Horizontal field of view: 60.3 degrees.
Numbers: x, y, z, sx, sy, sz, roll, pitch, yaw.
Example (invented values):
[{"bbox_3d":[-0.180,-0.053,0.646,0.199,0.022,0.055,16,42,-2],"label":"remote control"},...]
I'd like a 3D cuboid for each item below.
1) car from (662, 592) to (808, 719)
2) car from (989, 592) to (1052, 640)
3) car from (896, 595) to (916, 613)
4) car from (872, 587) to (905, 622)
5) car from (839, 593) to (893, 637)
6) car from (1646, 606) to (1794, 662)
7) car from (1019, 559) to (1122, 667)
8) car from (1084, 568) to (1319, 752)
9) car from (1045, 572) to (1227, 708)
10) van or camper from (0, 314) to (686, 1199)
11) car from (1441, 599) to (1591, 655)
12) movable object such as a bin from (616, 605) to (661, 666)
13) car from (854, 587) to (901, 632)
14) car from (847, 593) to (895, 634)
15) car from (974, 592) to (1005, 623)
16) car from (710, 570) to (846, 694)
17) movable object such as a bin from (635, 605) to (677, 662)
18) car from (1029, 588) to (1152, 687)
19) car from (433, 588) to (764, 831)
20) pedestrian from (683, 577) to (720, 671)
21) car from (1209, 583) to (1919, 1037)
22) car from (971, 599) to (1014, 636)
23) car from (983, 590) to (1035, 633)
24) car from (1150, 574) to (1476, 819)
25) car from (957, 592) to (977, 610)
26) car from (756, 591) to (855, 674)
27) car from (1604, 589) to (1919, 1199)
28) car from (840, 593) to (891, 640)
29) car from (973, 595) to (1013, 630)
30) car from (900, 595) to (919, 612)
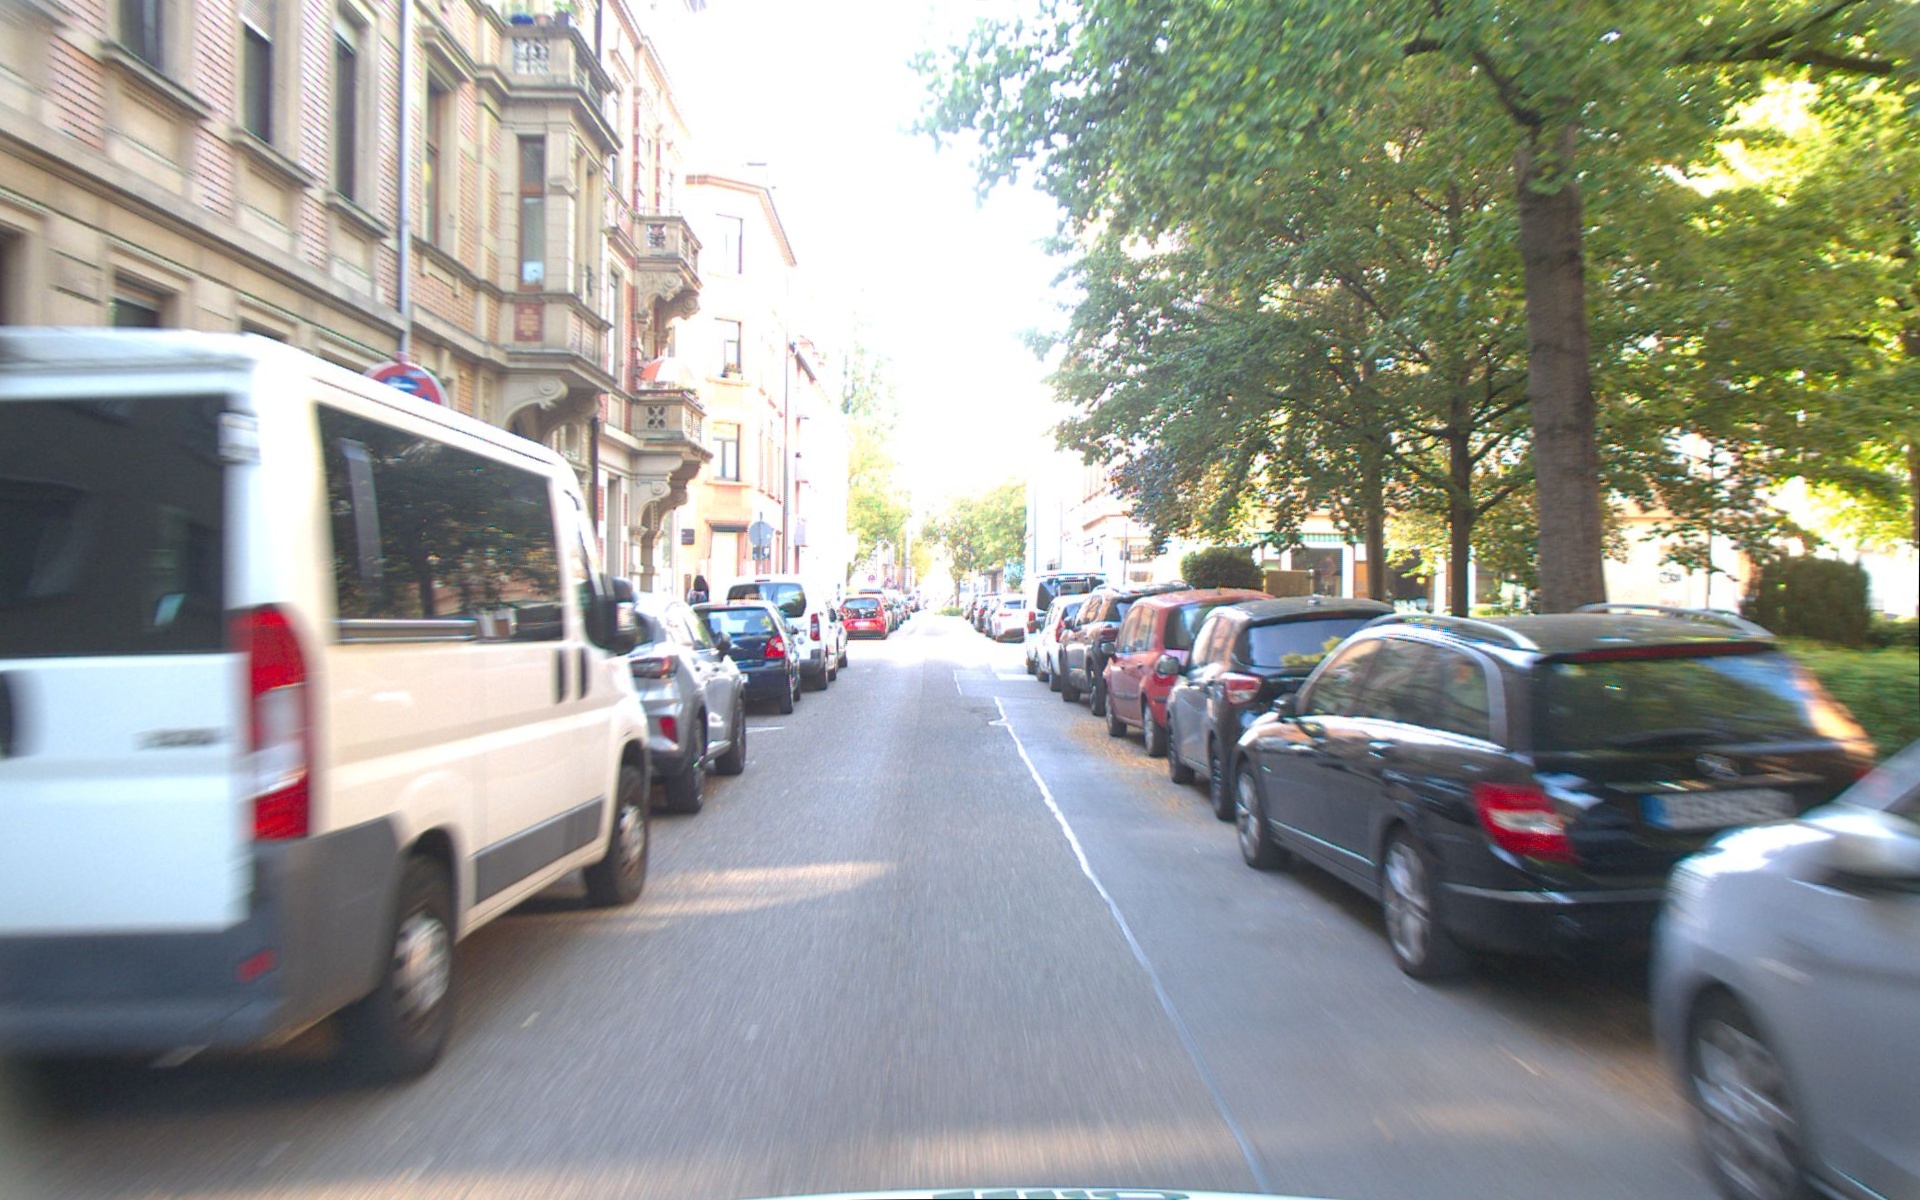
[{"bbox_3d":[-3.009,0.685,22.759,1.659,1.540,3.970,-2,0,-4],"label":"car"},{"bbox_3d":[2.021,0.516,56.282,1.709,1.533,4.355,-2,0,-3],"label":"car"},{"bbox_3d":[-4.753,0.323,145.382,1.642,1.513,4.093,-2,0,-1],"label":"car"},{"bbox_3d":[-3.918,0.221,91.060,1.729,1.816,4.038,-1,0,-1],"label":"car"},{"bbox_3d":[-3.477,0.537,61.585,1.660,1.547,4.096,-1,0,1],"label":"car"},{"bbox_3d":[21.451,0.974,46.773,3.456,1.499,1.634,1,-2,6],"label":"car"},{"bbox_3d":[2.205,0.234,34.157,1.875,2.033,4.792,-1,0,1],"label":"car"},{"bbox_3d":[2.482,0.598,17.912,1.587,1.653,3.859,-4,0,-5],"label":"car"},{"bbox_3d":[2.392,0.539,23.517,1.706,1.631,4.260,-4,0,-5],"label":"car"},{"bbox_3d":[-2.648,0.404,6.632,2.132,2.185,5.154,-1,0,1],"label":"van or camper"},{"bbox_3d":[15.831,0.776,47.225,3.773,1.499,1.634,1,-2,6],"label":"car"},{"bbox_3d":[-5.814,0.628,29.952,0.624,1.059,0.856,2,0,-1],"label":"movable object such as a bin"},{"bbox_3d":[-3.563,0.400,71.903,1.707,1.842,4.672,-1,0,1],"label":"car"},{"bbox_3d":[-3.535,0.511,66.406,1.622,1.547,3.945,-1,0,1],"label":"car"},{"bbox_3d":[1.647,0.434,93.491,1.641,1.711,4.094,-2,-1,0],"label":"car"},{"bbox_3d":[-2.949,0.475,27.655,1.794,1.843,4.571,-1,0,-1],"label":"car"},{"bbox_3d":[-5.917,0.639,32.194,0.624,1.059,0.856,2,0,-1],"label":"movable object such as a bin"},{"bbox_3d":[2.200,0.602,28.707,1.684,1.598,3.826,0,0,-2],"label":"car"},{"bbox_3d":[-2.609,0.702,12.916,1.730,1.540,4.192,-2,0,-2],"label":"car"},{"bbox_3d":[-4.688,0.442,30.035,0.537,1.673,0.717,1,-2,-1],"label":"pedestrian"},{"bbox_3d":[2.558,0.755,8.183,1.642,1.466,4.693,-4,0,-3],"label":"car"},{"bbox_3d":[1.387,0.735,71.575,1.642,1.533,3.936,-2,0,-1],"label":"car"},{"bbox_3d":[1.811,0.405,62.128,1.708,1.533,4.020,-2,0,-1],"label":"car"},{"bbox_3d":[2.571,0.654,12.908,1.586,1.512,3.775,-4,0,-1],"label":"car"},{"bbox_3d":[0.622,0.058,146.533,1.642,1.513,3.637,-2,0,-1],"label":"car"},{"bbox_3d":[-3.029,0.605,33.028,1.658,1.507,3.972,-2,0,-1],"label":"car"},{"bbox_3d":[2.792,0.726,2.980,1.568,1.531,3.625,-4,0,-4],"label":"car"},{"bbox_3d":[-3.219,0.532,56.794,1.595,1.507,3.600,-2,0,-1],"label":"car"},{"bbox_3d":[1.490,0.550,76.471,1.642,1.533,3.936,-2,0,-1],"label":"car"},{"bbox_3d":[-4.560,0.329,150.385,1.642,1.513,4.093,-2,0,-1],"label":"car"}]
